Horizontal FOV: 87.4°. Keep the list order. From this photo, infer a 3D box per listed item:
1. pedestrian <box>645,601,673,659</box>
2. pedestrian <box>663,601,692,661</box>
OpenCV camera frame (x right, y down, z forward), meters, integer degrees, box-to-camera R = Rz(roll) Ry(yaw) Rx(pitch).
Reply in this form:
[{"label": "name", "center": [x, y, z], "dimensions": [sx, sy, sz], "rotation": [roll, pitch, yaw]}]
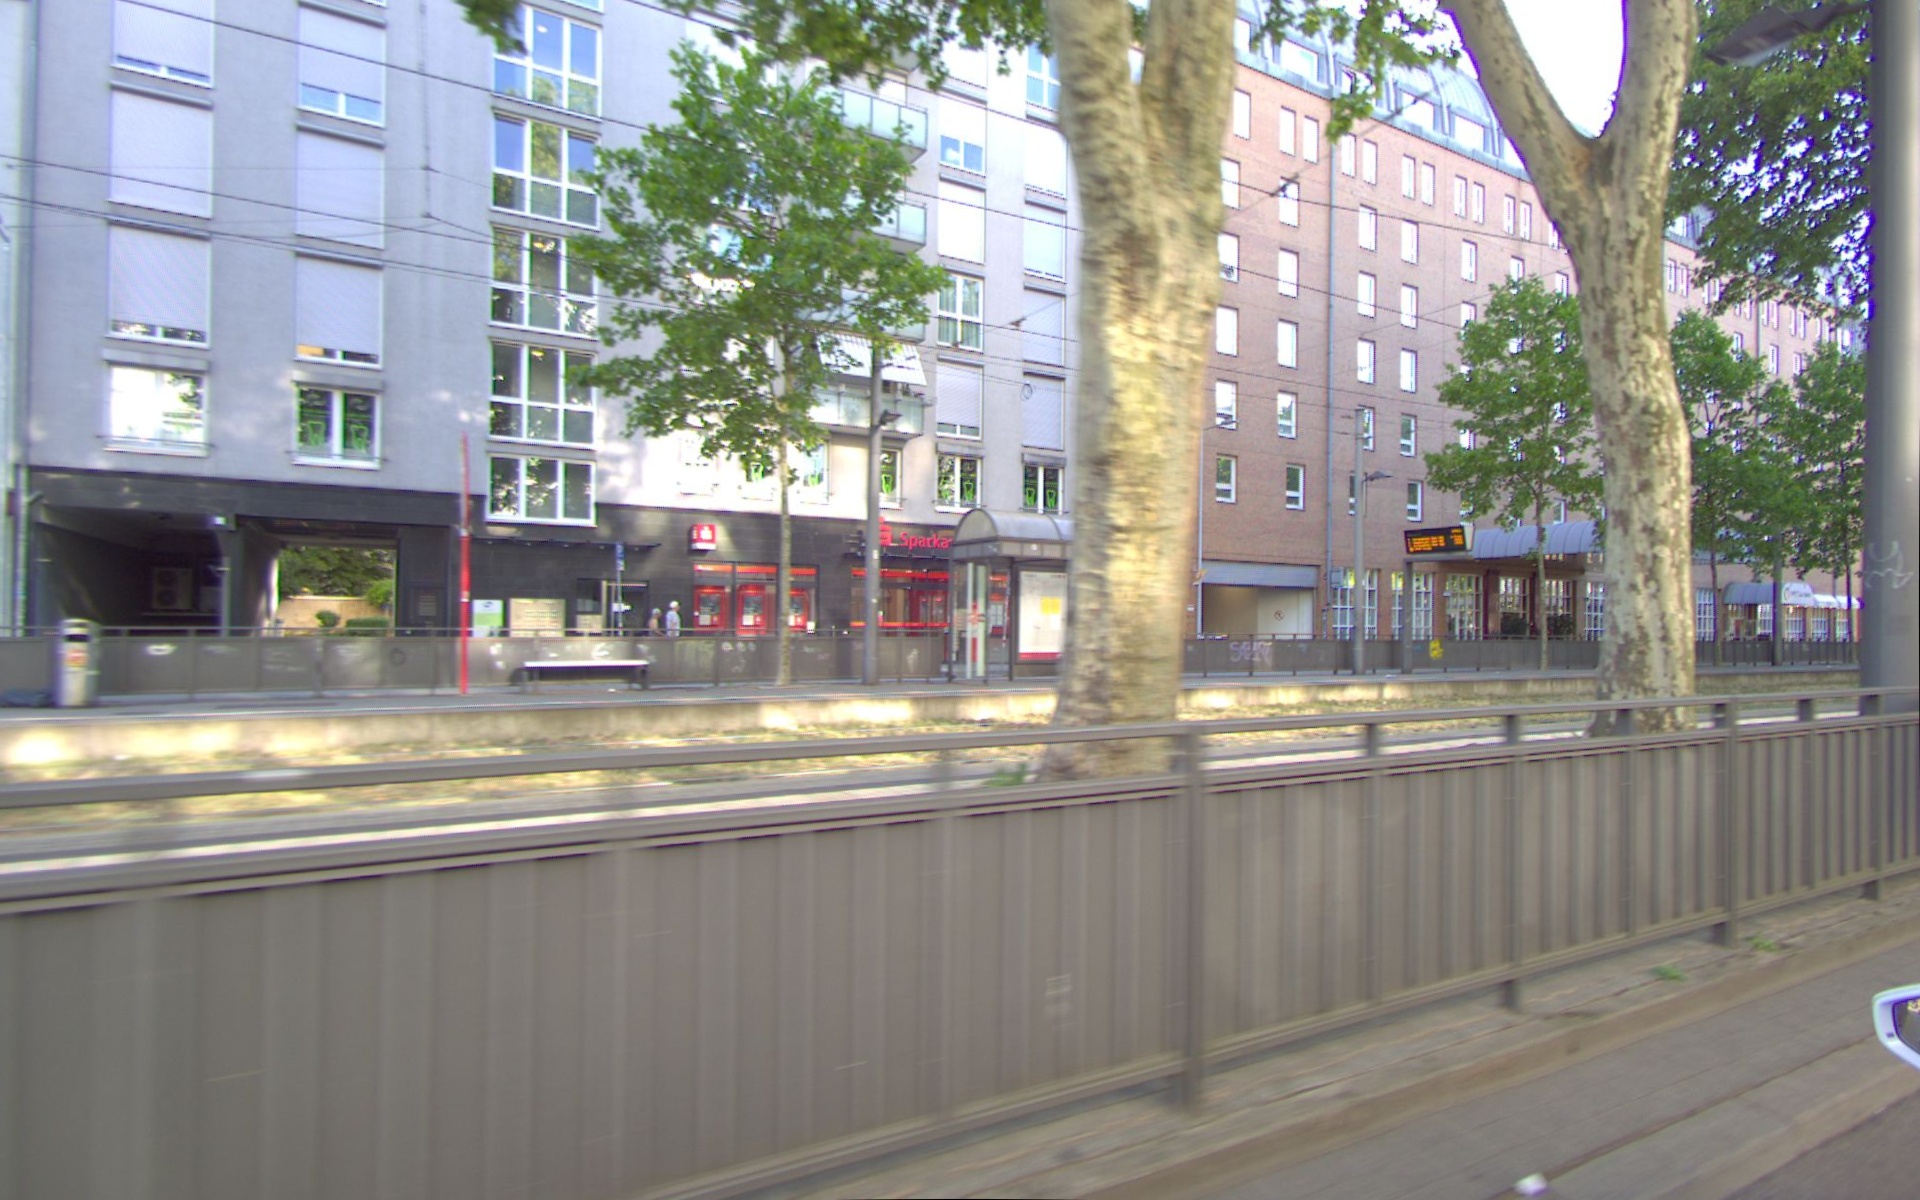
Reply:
[{"label": "pedestrian", "center": [-7.900, 0.790, 26.344], "dimensions": [0.581, 1.514, 0.531], "rotation": [1, -1, -32]}, {"label": "pedestrian", "center": [-7.285, 0.799, 25.884], "dimensions": [0.581, 1.514, 0.531], "rotation": [1, -1, -32]}]
